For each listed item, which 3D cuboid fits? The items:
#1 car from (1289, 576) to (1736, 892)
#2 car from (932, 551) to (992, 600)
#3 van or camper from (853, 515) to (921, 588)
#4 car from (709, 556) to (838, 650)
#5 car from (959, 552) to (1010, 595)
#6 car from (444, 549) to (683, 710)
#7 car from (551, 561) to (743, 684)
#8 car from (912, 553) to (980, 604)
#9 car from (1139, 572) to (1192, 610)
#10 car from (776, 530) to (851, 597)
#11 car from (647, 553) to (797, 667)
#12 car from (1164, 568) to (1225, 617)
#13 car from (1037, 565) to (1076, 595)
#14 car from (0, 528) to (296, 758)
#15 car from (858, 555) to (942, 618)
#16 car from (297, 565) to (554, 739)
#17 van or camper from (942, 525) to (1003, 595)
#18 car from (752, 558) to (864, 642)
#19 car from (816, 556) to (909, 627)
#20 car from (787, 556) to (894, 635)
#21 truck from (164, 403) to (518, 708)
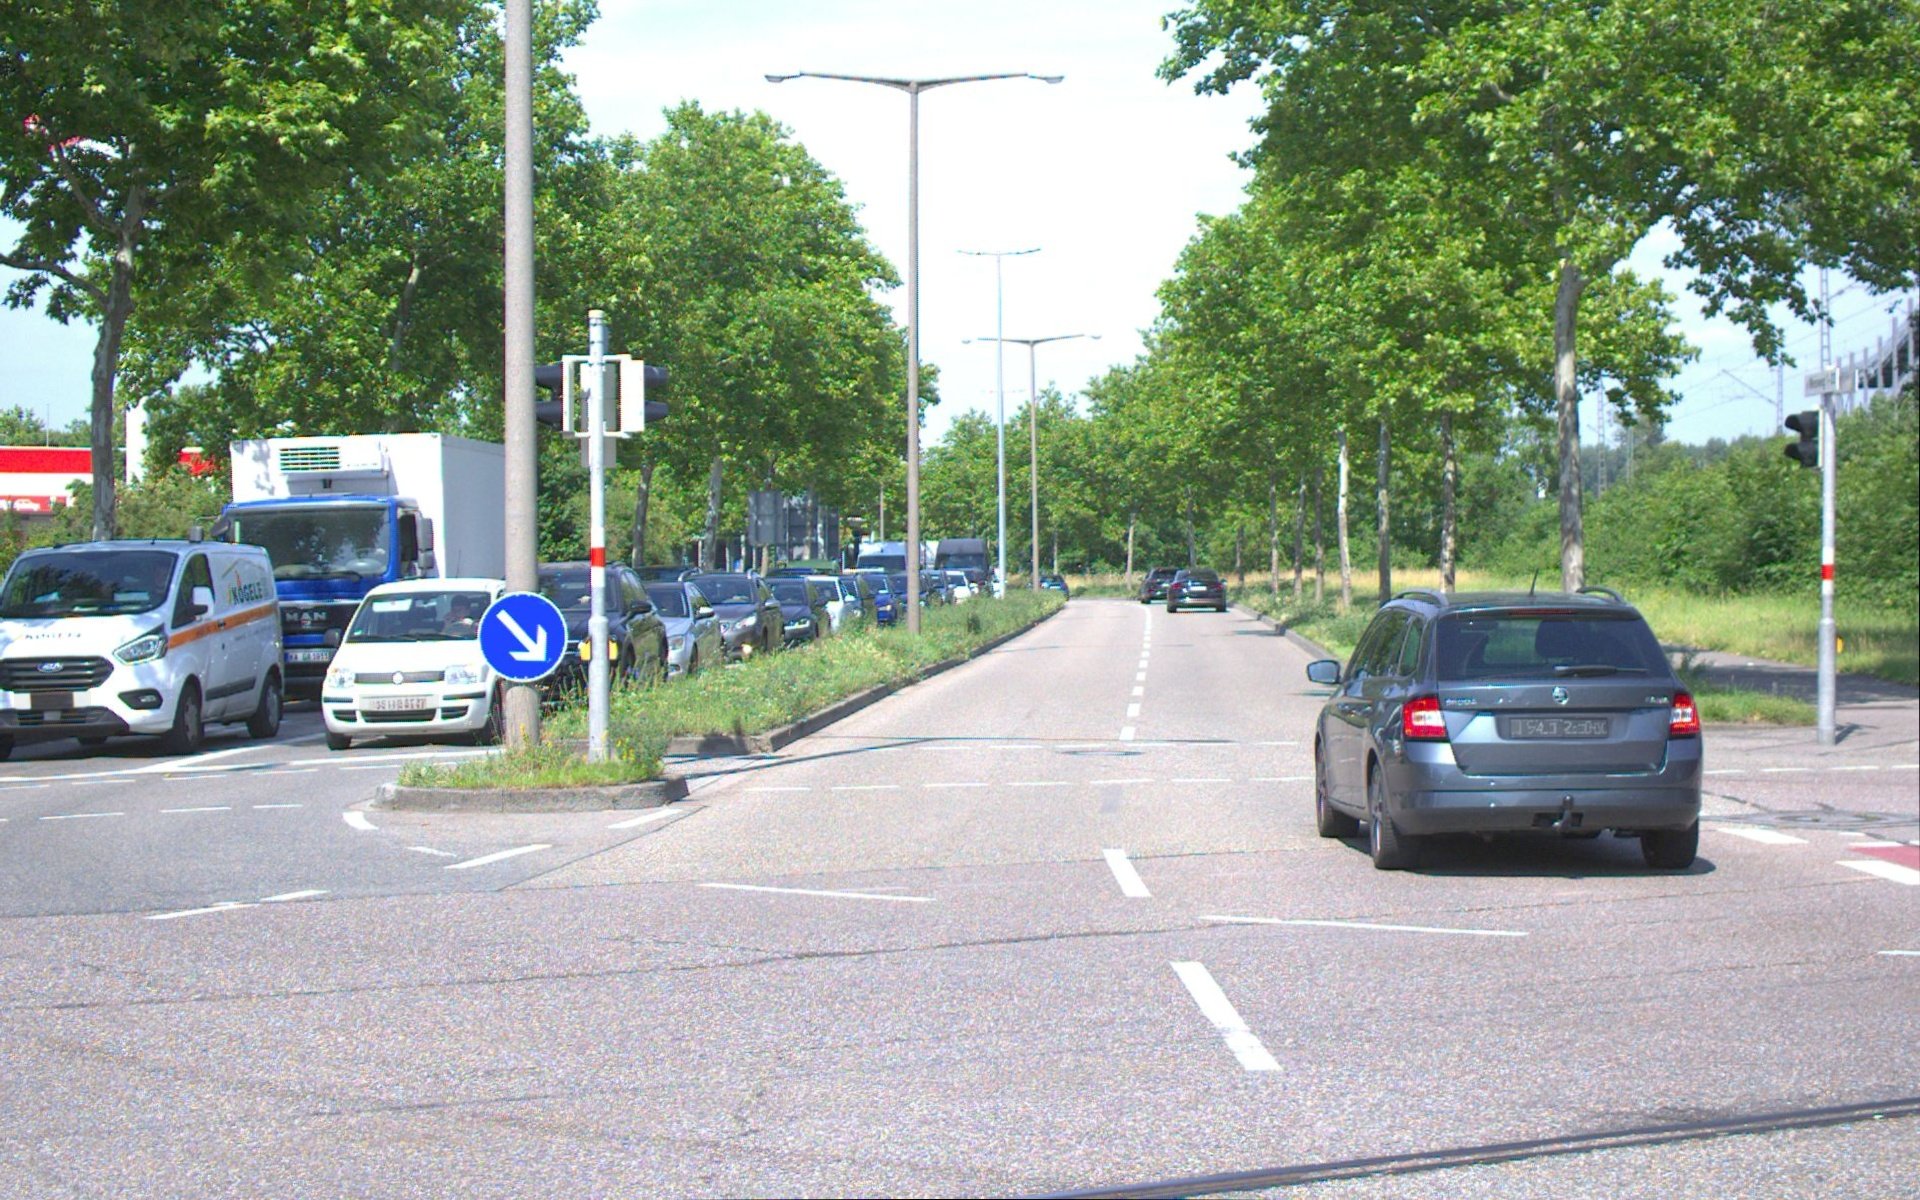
[{"bbox_3d":[2.897,0.644,18.839,1.674,1.448,4.036,1,1,-1],"label":"car"},{"bbox_3d":[0.087,-0.796,111.004,1.689,1.505,3.814,-1,1,3],"label":"car"},{"bbox_3d":[-2.656,-1.779,125.782,2.015,2.579,5.516,-1,1,3],"label":"van or camper"},{"bbox_3d":[-3.153,0.027,58.745,1.689,1.468,4.218,-2,1,3],"label":"car"},{"bbox_3d":[0.912,-0.975,127.623,1.689,1.525,3.814,-1,0,3],"label":"car"},{"bbox_3d":[-4.307,0.310,38.014,1.820,1.641,4.693,-1,0,3],"label":"car"},{"bbox_3d":[-4.014,0.256,44.771,1.797,1.463,4.522,-1,1,4],"label":"car"},{"bbox_3d":[-0.396,-0.671,104.573,1.784,1.454,4.471,-1,1,3],"label":"car"},{"bbox_3d":[8.484,-0.391,142.006,1.908,1.458,4.582,0,2,0],"label":"car"},{"bbox_3d":[-4.168,-1.039,98.306,1.689,1.852,4.036,-1,0,3],"label":"car"},{"bbox_3d":[-3.516,0.114,51.493,1.689,1.581,4.240,-1,1,3],"label":"car"},{"bbox_3d":[7.494,-0.253,109.975,1.908,1.458,4.621,0,2,4],"label":"car"},{"bbox_3d":[5.092,-1.058,181.574,1.908,1.458,4.582,0,2,0],"label":"car"},{"bbox_3d":[-7.827,0.325,32.353,1.976,1.992,5.031,0,1,3],"label":"car"},{"bbox_3d":[-1.472,-0.354,85.729,1.823,1.460,4.450,-1,1,2],"label":"car"},{"bbox_3d":[-4.909,0.438,32.002,1.593,1.472,3.729,-1,1,3],"label":"car"},{"bbox_3d":[0.456,-1.385,120.039,1.938,2.360,5.398,-1,0,2],"label":"van or camper"},{"bbox_3d":[-2.809,-0.026,64.371,1.689,1.467,3.814,-1,1,3],"label":"car"},{"bbox_3d":[-2.158,-0.207,77.049,1.784,1.484,4.211,-1,1,2],"label":"car"},{"bbox_3d":[-2.464,-0.113,71.739,1.758,1.525,4.827,-1,1,3],"label":"car"},{"bbox_3d":[-7.620,-0.589,43.278,2.804,3.459,6.691,-2,1,3],"label":"truck"}]
